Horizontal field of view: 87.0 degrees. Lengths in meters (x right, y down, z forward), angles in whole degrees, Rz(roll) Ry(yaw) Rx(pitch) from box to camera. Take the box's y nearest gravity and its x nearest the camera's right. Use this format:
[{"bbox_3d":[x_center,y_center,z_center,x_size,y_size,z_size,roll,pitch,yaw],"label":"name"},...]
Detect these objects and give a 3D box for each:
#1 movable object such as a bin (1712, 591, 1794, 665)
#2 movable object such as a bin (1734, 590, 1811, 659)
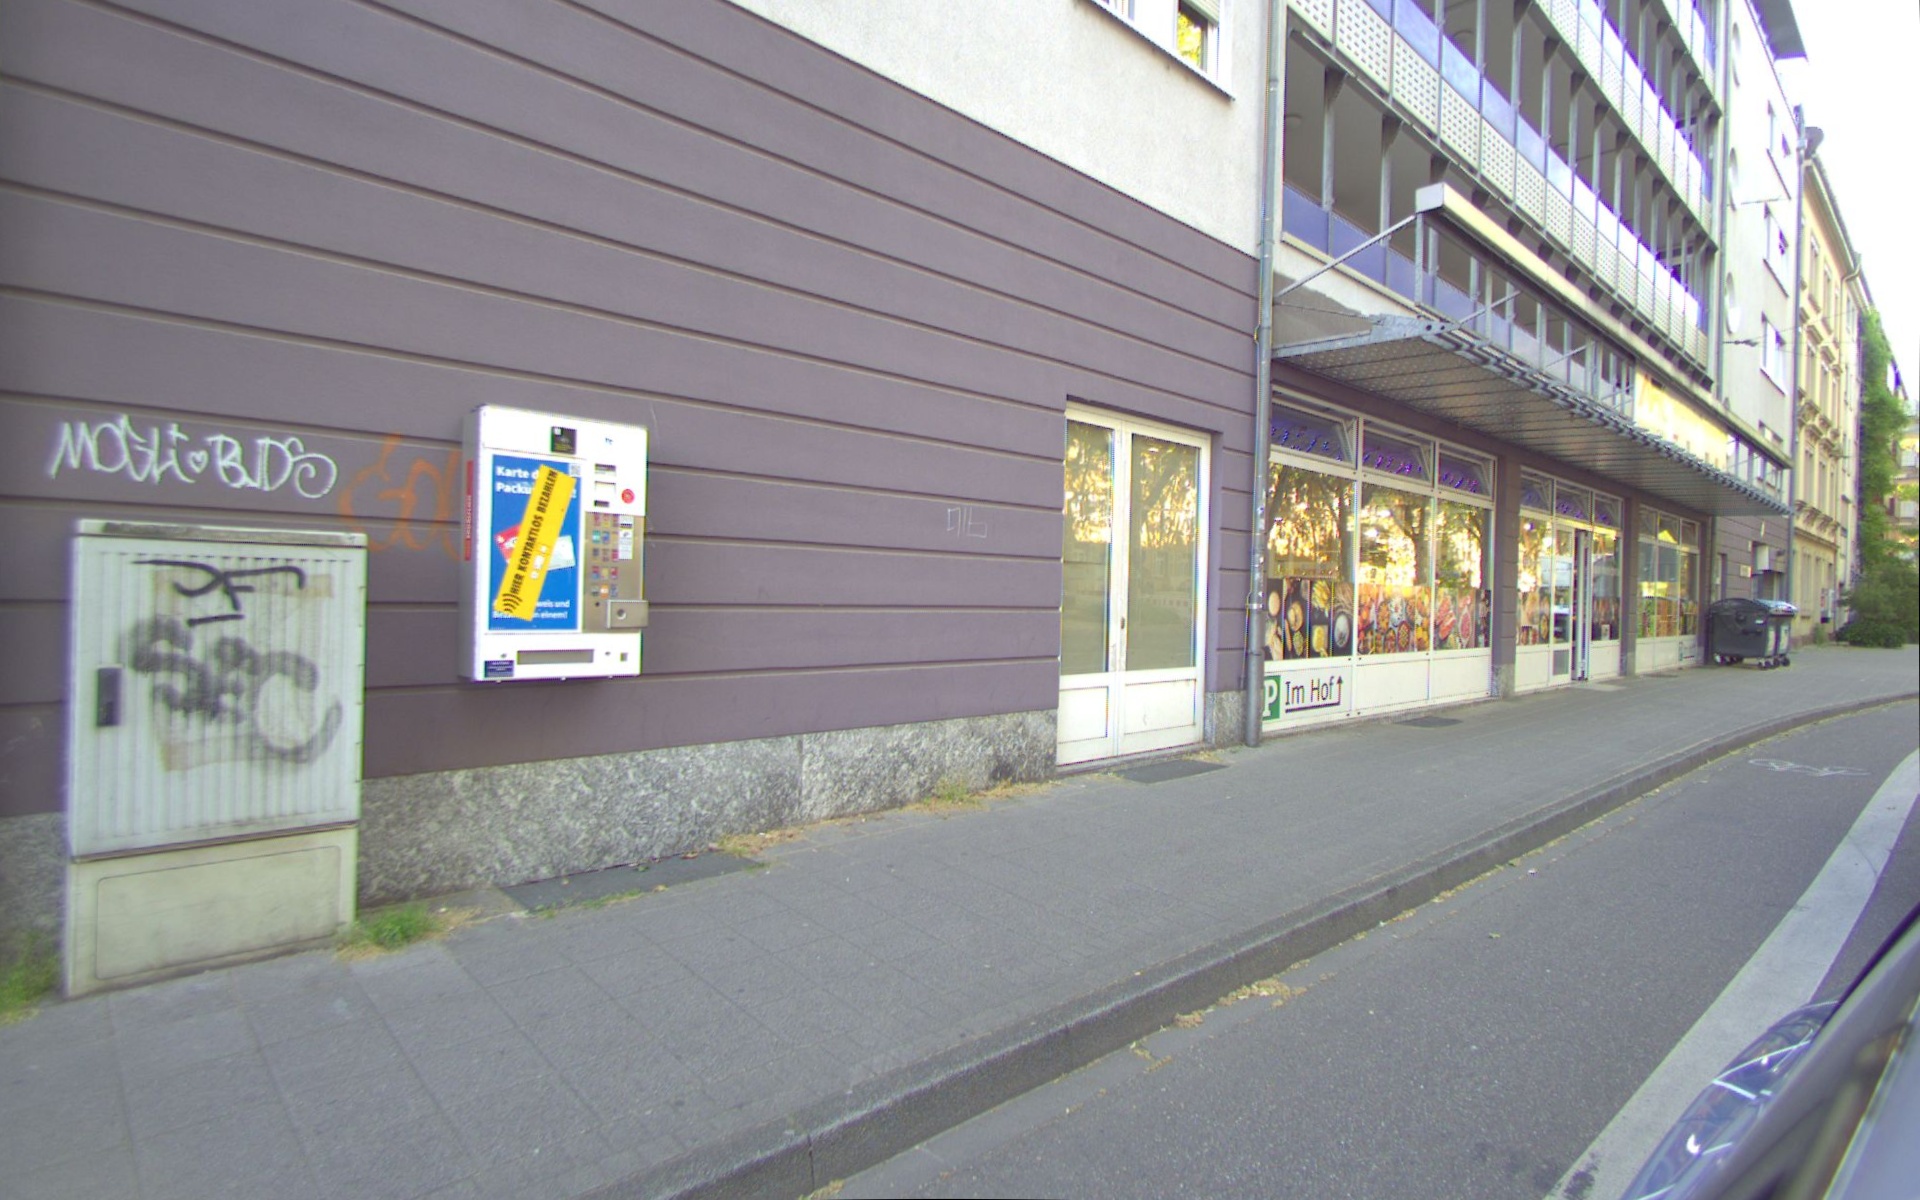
[{"bbox_3d":[16.295,0.546,20.804,0.923,1.444,1.158,1,1,-40],"label":"movable object such as a bin"},{"bbox_3d":[17.778,0.515,22.151,0.923,1.444,1.158,1,1,-40],"label":"movable object such as a bin"}]
